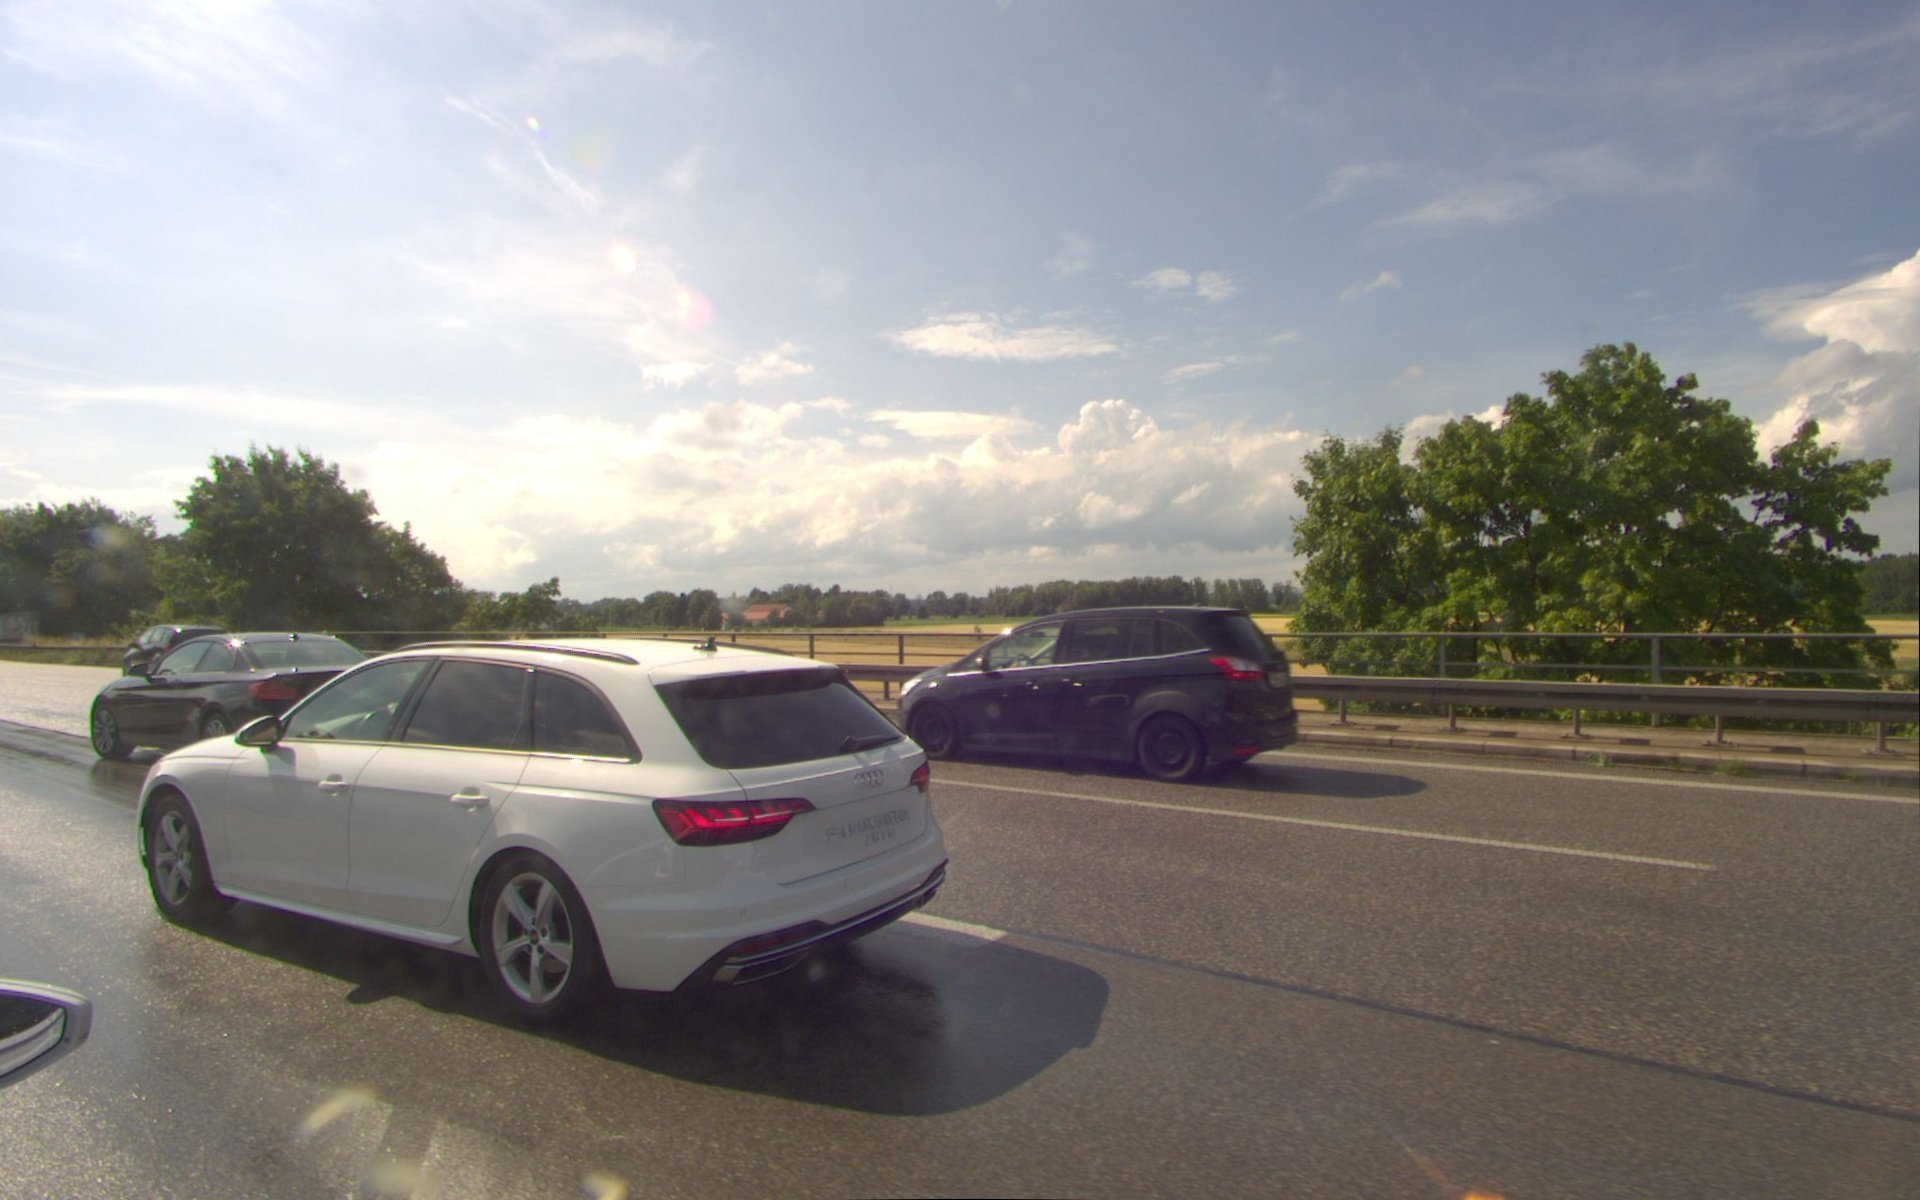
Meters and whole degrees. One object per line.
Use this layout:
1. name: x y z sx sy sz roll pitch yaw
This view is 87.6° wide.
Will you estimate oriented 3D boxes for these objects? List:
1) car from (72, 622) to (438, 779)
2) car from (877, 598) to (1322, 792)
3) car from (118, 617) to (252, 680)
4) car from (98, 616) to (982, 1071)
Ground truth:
1. car: -8.152 1.031 11.515 4.192 1.483 1.846 -1 -1 30
2. car: 1.347 0.860 10.507 4.306 1.641 1.815 -1 -2 36
3. car: -21.214 1.293 27.375 3.947 1.588 1.843 -1 -2 36
4. car: -2.273 0.843 5.089 4.444 1.444 1.824 -2 -1 30
